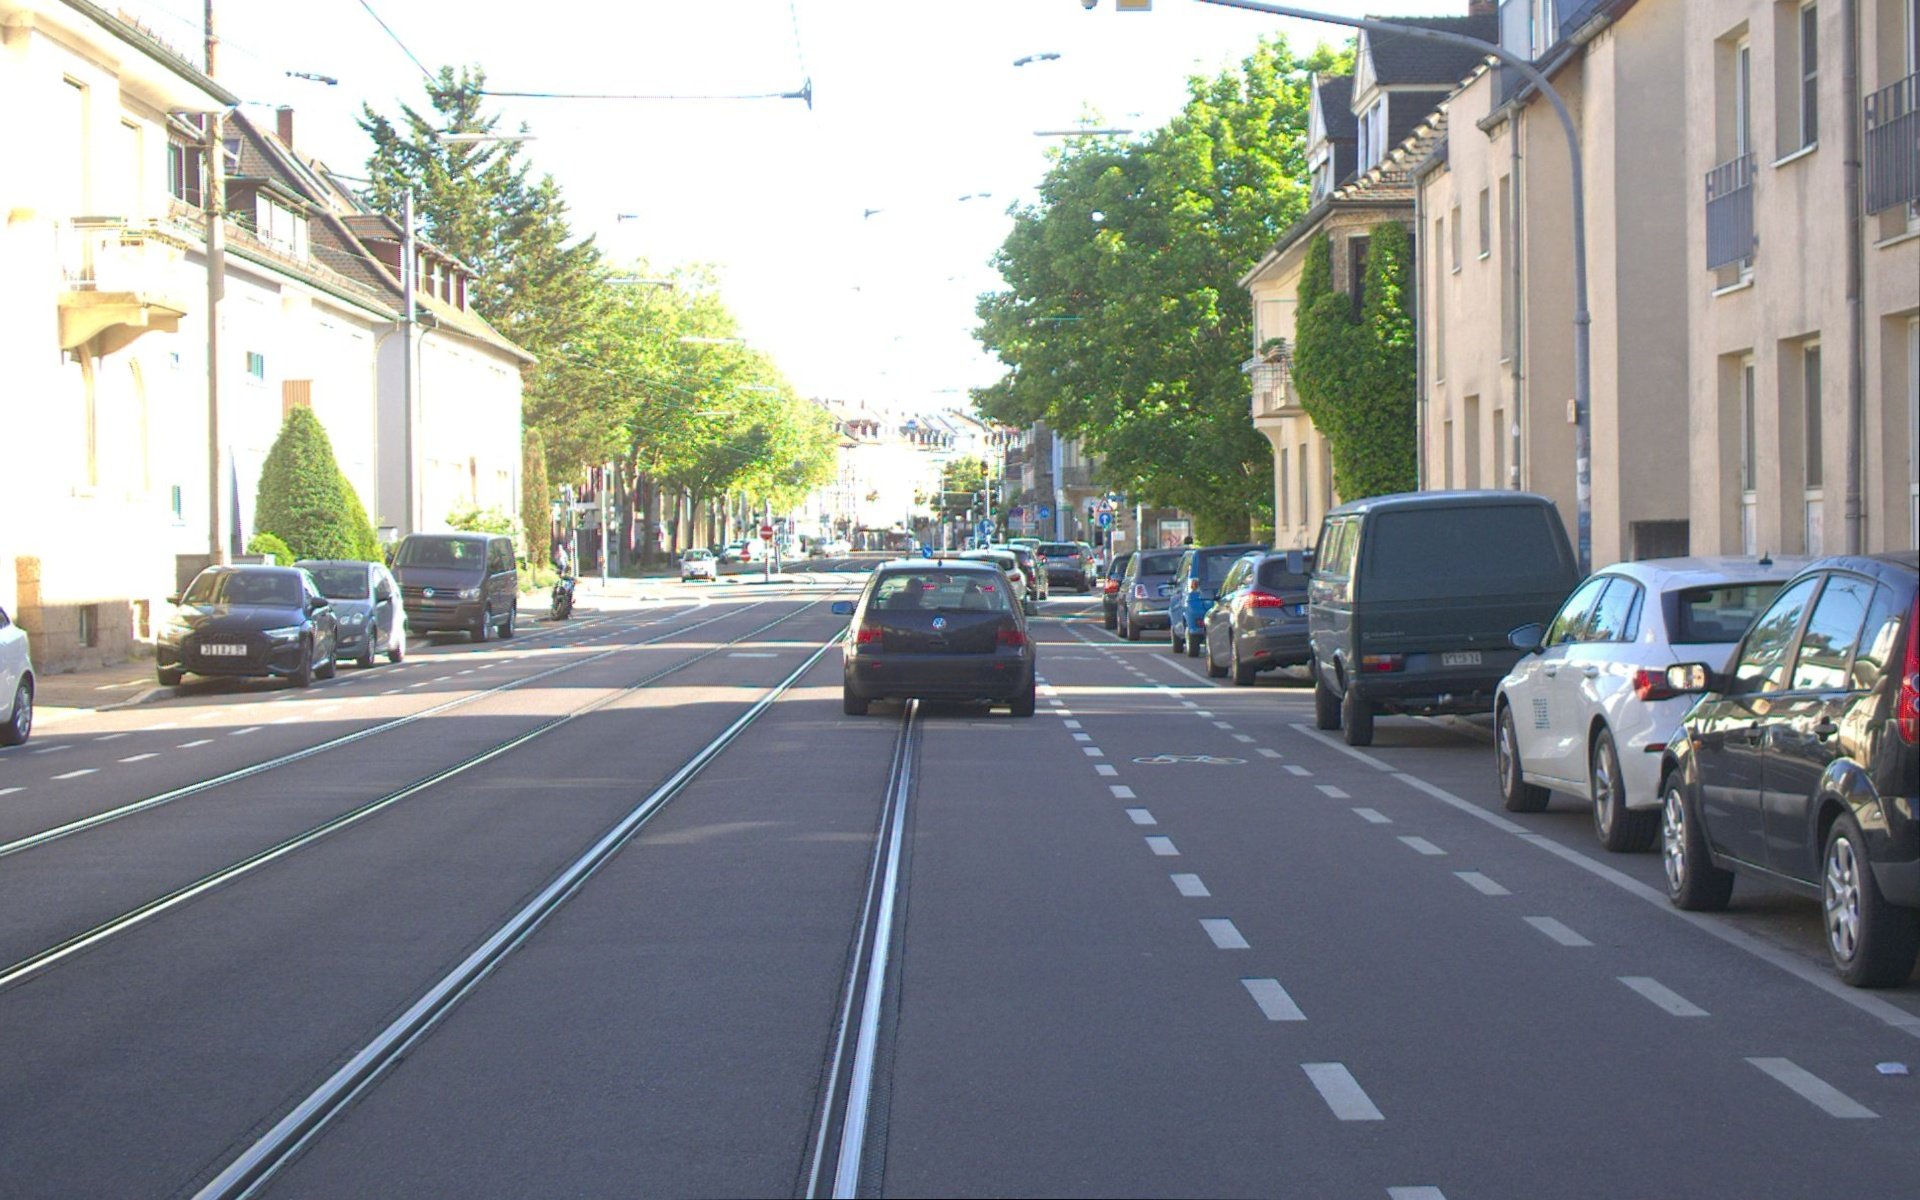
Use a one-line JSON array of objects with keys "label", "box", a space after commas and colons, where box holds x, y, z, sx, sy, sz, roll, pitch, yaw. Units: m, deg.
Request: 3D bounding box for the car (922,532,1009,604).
[{"label": "car", "box": [0.121, -0.652, 67.700, 1.634, 1.367, 3.757, -1, 1, 1]}]

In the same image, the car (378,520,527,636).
[{"label": "car", "box": [-9.256, -0.437, 63.096, 1.906, 2.007, 4.949, 1, 1, 1]}]

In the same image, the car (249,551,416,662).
[{"label": "car", "box": [-8.928, 0.061, 49.153, 1.676, 1.472, 3.835, 1, 1, 0]}]

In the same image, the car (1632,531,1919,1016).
[{"label": "car", "box": [3.691, 0.533, 12.833, 1.554, 1.552, 3.652, 1, 1, -1]}]

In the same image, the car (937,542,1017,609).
[{"label": "car", "box": [0.372, -0.566, 77.115, 1.740, 1.436, 3.810, 0, 1, 0]}]

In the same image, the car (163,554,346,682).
[{"label": "car", "box": [-8.654, 0.180, 42.468, 1.662, 1.472, 4.251, -1, 1, -4]}]

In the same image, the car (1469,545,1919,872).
[{"label": "car", "box": [3.885, 0.475, 18.113, 1.677, 1.486, 4.173, 1, 1, -1]}]

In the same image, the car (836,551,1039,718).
[{"label": "car", "box": [-0.197, 0.272, 31.608, 1.716, 1.398, 4.006, 1, 1, 0]}]

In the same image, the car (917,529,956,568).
[{"label": "car", "box": [-1.204, -2.584, 171.840, 1.787, 1.853, 4.001, 2, 1, -2]}]

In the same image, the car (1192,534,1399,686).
[{"label": "car", "box": [3.769, 0.067, 39.300, 1.744, 1.593, 4.434, 1, 1, -2]}]

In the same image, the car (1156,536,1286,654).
[{"label": "car", "box": [3.696, -0.097, 49.044, 1.457, 1.593, 3.294, 1, 1, -2]}]

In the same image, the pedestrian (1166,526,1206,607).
[{"label": "pedestrian", "box": [4.800, -0.718, 73.022, 0.717, 1.682, 0.870, -2, 1, -1]}]

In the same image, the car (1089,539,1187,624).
[{"label": "car", "box": [3.399, -0.369, 66.133, 1.665, 1.558, 3.771, 1, 1, 0]}]

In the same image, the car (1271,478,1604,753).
[{"label": "car", "box": [3.711, 0.069, 27.502, 1.905, 1.980, 4.563, 1, 1, -1]}]

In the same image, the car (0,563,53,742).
[{"label": "car", "box": [-8.649, 0.463, 27.611, 1.631, 1.452, 4.016, -2, 1, 0]}]

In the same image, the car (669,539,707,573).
[{"label": "car", "box": [-11.974, -1.944, 151.230, 1.575, 1.472, 3.441, -1, 1, -6]}]

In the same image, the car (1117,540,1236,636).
[{"label": "car", "box": [3.599, -0.223, 57.658, 1.601, 1.520, 3.550, 1, 1, -2]}]
